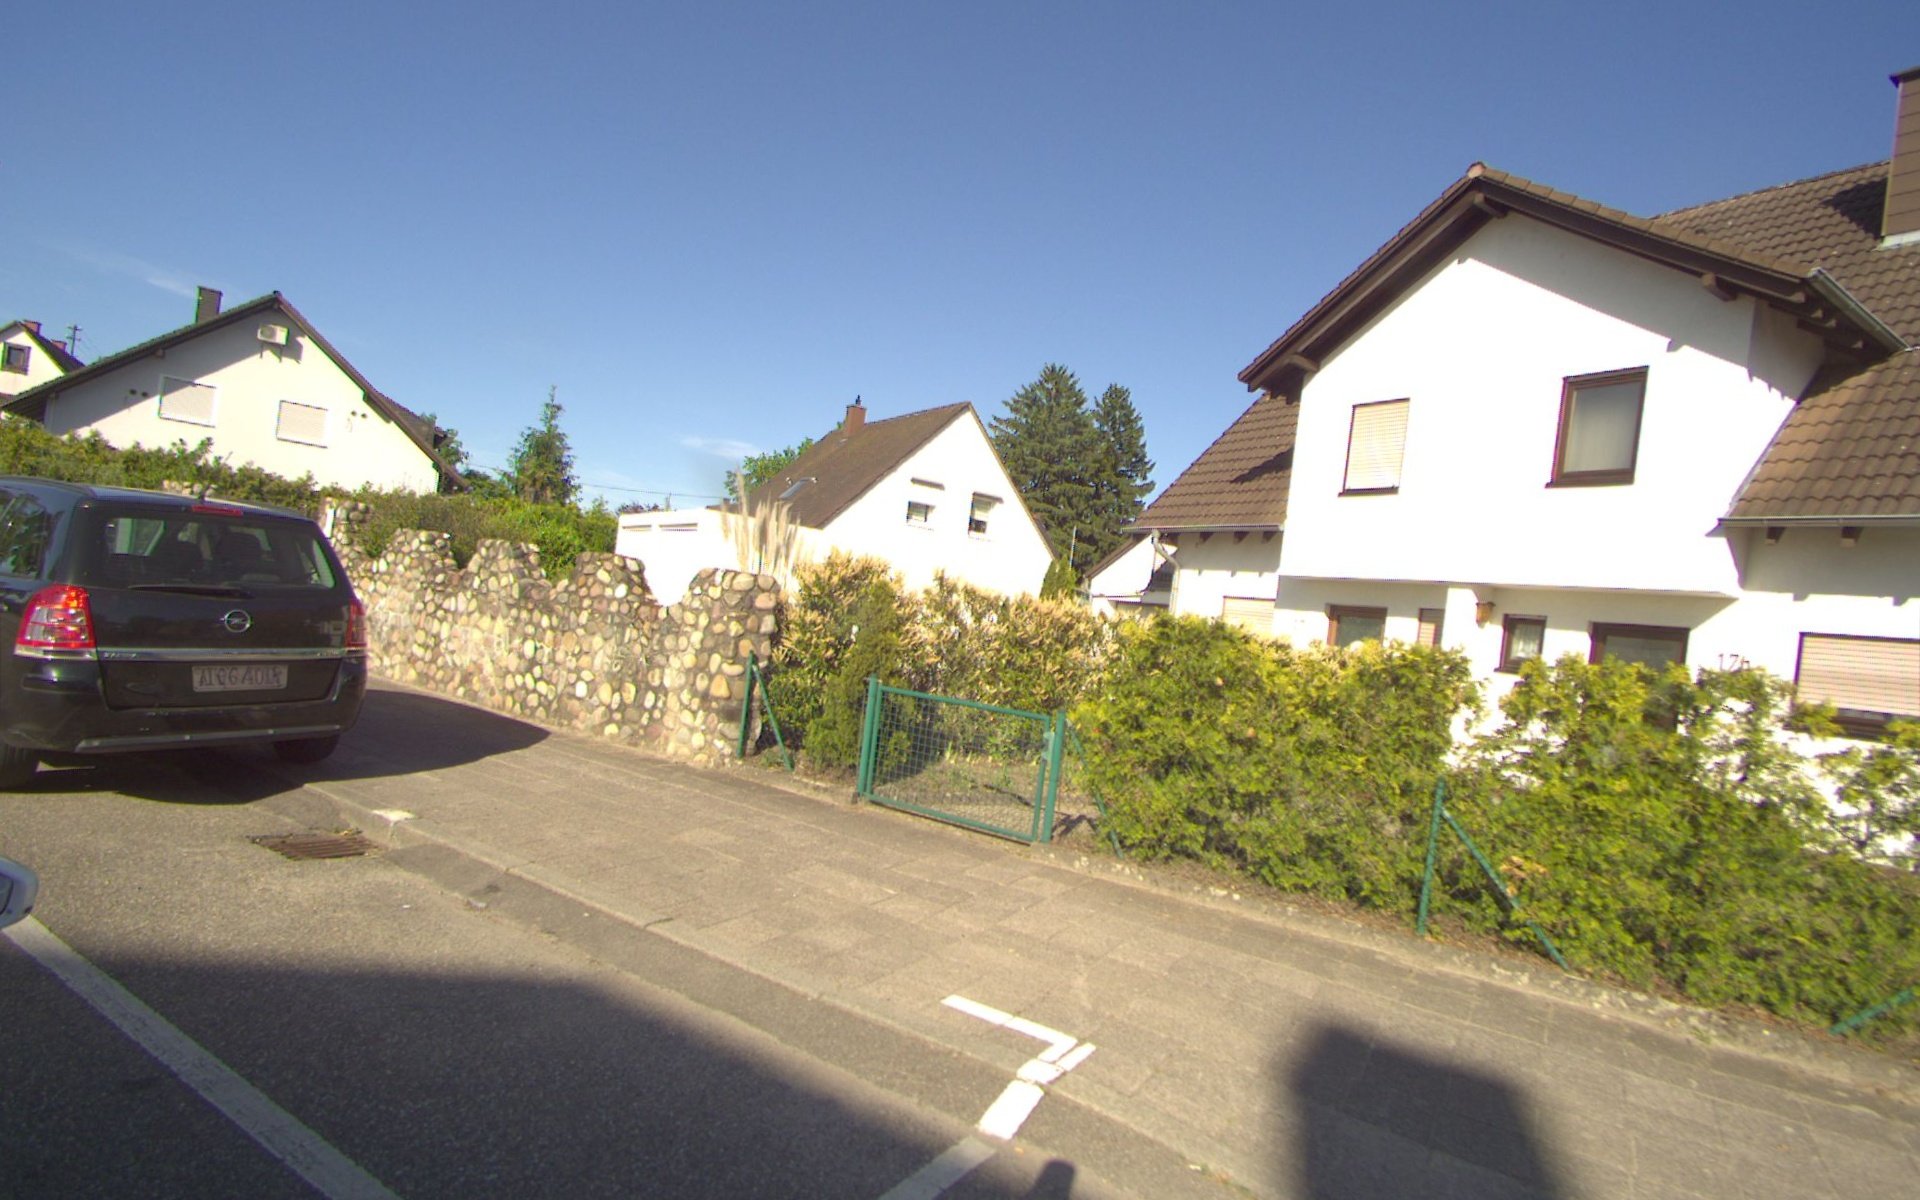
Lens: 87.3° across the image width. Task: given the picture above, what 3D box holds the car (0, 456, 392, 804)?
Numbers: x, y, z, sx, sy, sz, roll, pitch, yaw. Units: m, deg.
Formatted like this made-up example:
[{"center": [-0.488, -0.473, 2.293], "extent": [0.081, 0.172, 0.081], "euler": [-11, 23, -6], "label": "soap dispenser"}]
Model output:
[{"center": [-5.900, 0.029, 6.718], "extent": [4.233, 1.678, 1.779], "euler": [7, -2, 33], "label": "car"}]
